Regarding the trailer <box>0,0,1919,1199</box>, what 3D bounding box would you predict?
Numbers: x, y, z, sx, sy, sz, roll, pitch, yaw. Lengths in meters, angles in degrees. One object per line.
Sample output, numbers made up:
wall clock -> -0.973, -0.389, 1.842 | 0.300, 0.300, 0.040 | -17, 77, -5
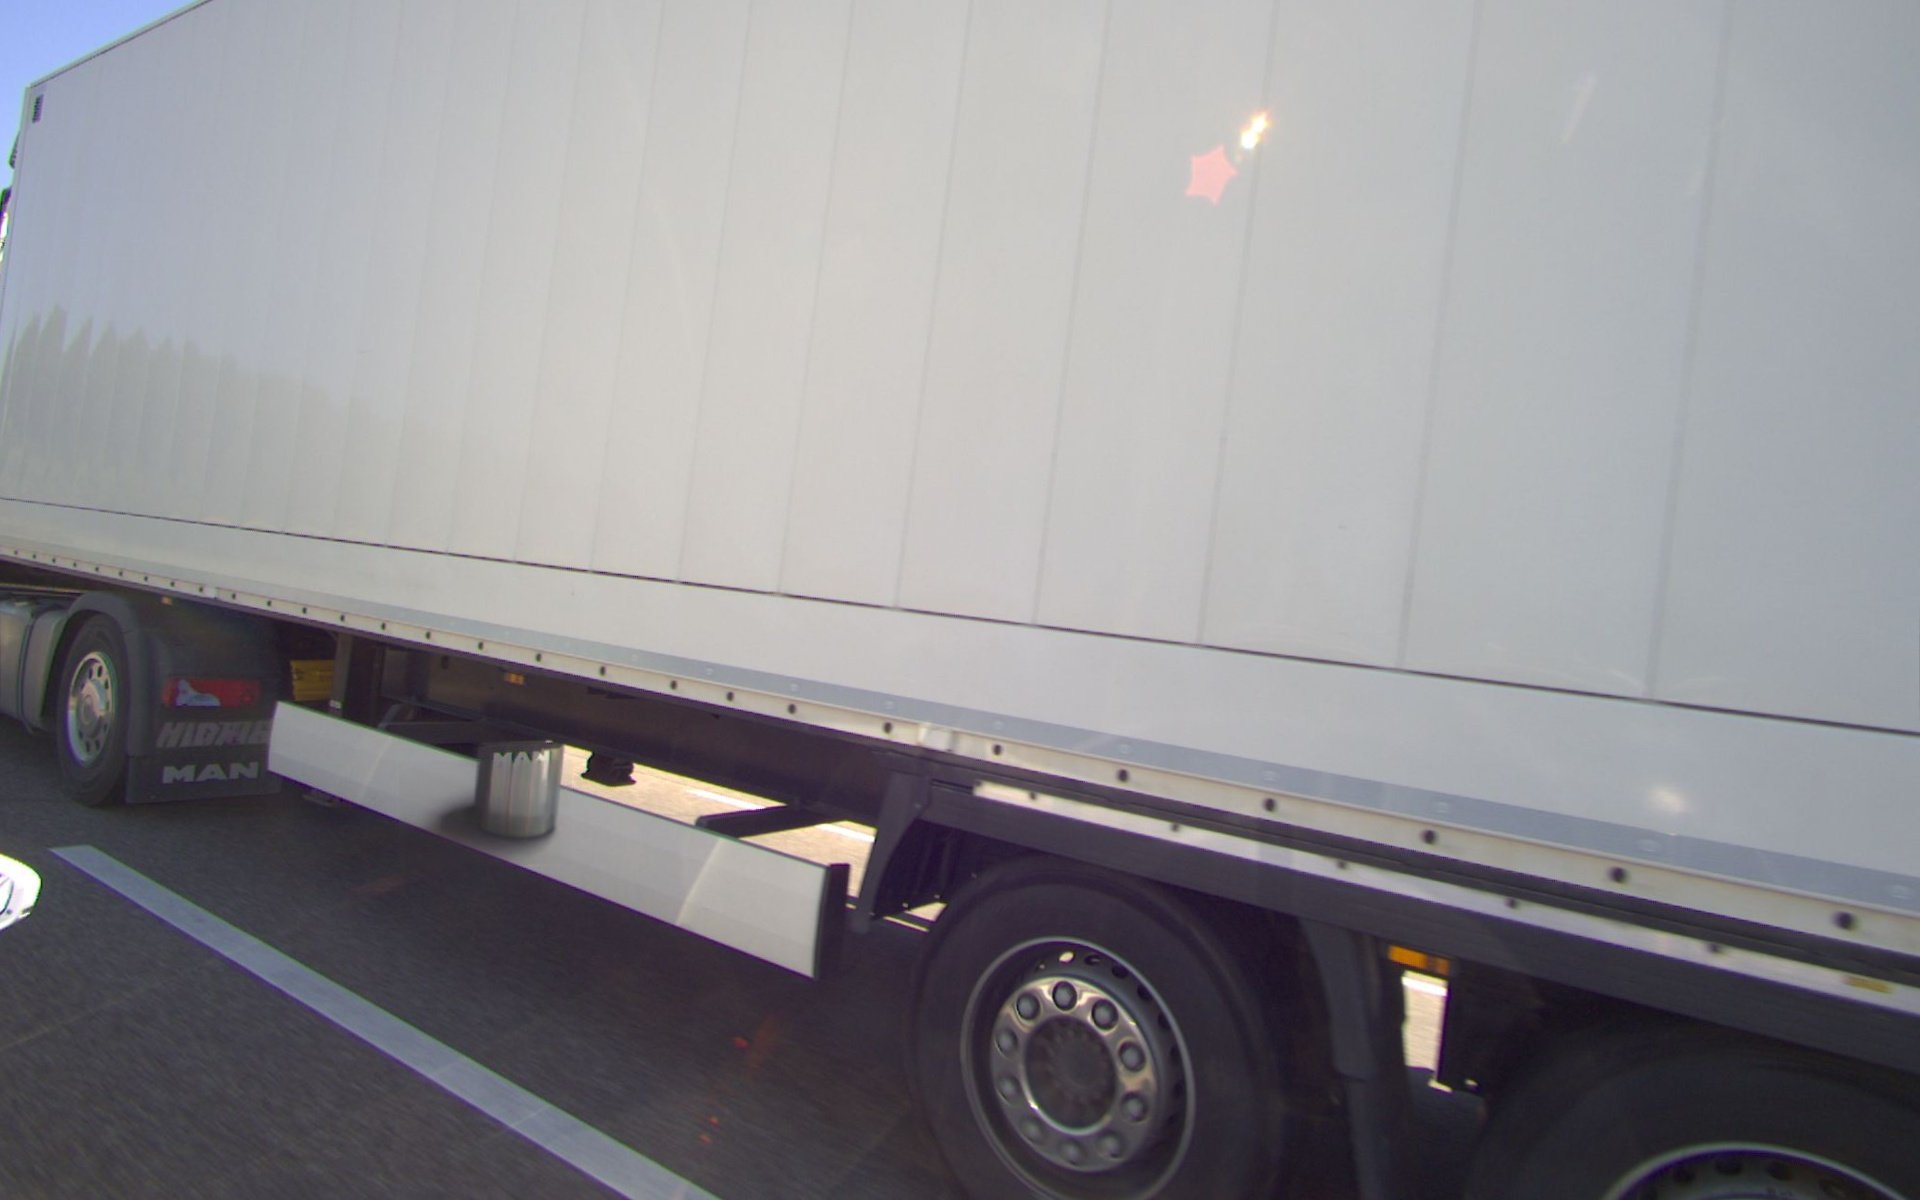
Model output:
trailer -> 0.797, -0.410, 3.440 | 12.359, 4.083, 2.800 | 6, -1, 31

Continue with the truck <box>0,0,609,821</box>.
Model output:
truck -> -5.987, -1.078, 7.598 | 5.920, 4.054, 2.805 | 6, -1, 31

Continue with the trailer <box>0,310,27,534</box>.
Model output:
trailer -> -19.982, -2.556, 16.611 | 14.504, 4.115, 2.712 | 5, -2, 32

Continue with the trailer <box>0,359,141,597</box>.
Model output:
trailer -> -22.196, -2.699, 22.573 | 10.479, 4.291, 2.320 | 5, -1, 32
